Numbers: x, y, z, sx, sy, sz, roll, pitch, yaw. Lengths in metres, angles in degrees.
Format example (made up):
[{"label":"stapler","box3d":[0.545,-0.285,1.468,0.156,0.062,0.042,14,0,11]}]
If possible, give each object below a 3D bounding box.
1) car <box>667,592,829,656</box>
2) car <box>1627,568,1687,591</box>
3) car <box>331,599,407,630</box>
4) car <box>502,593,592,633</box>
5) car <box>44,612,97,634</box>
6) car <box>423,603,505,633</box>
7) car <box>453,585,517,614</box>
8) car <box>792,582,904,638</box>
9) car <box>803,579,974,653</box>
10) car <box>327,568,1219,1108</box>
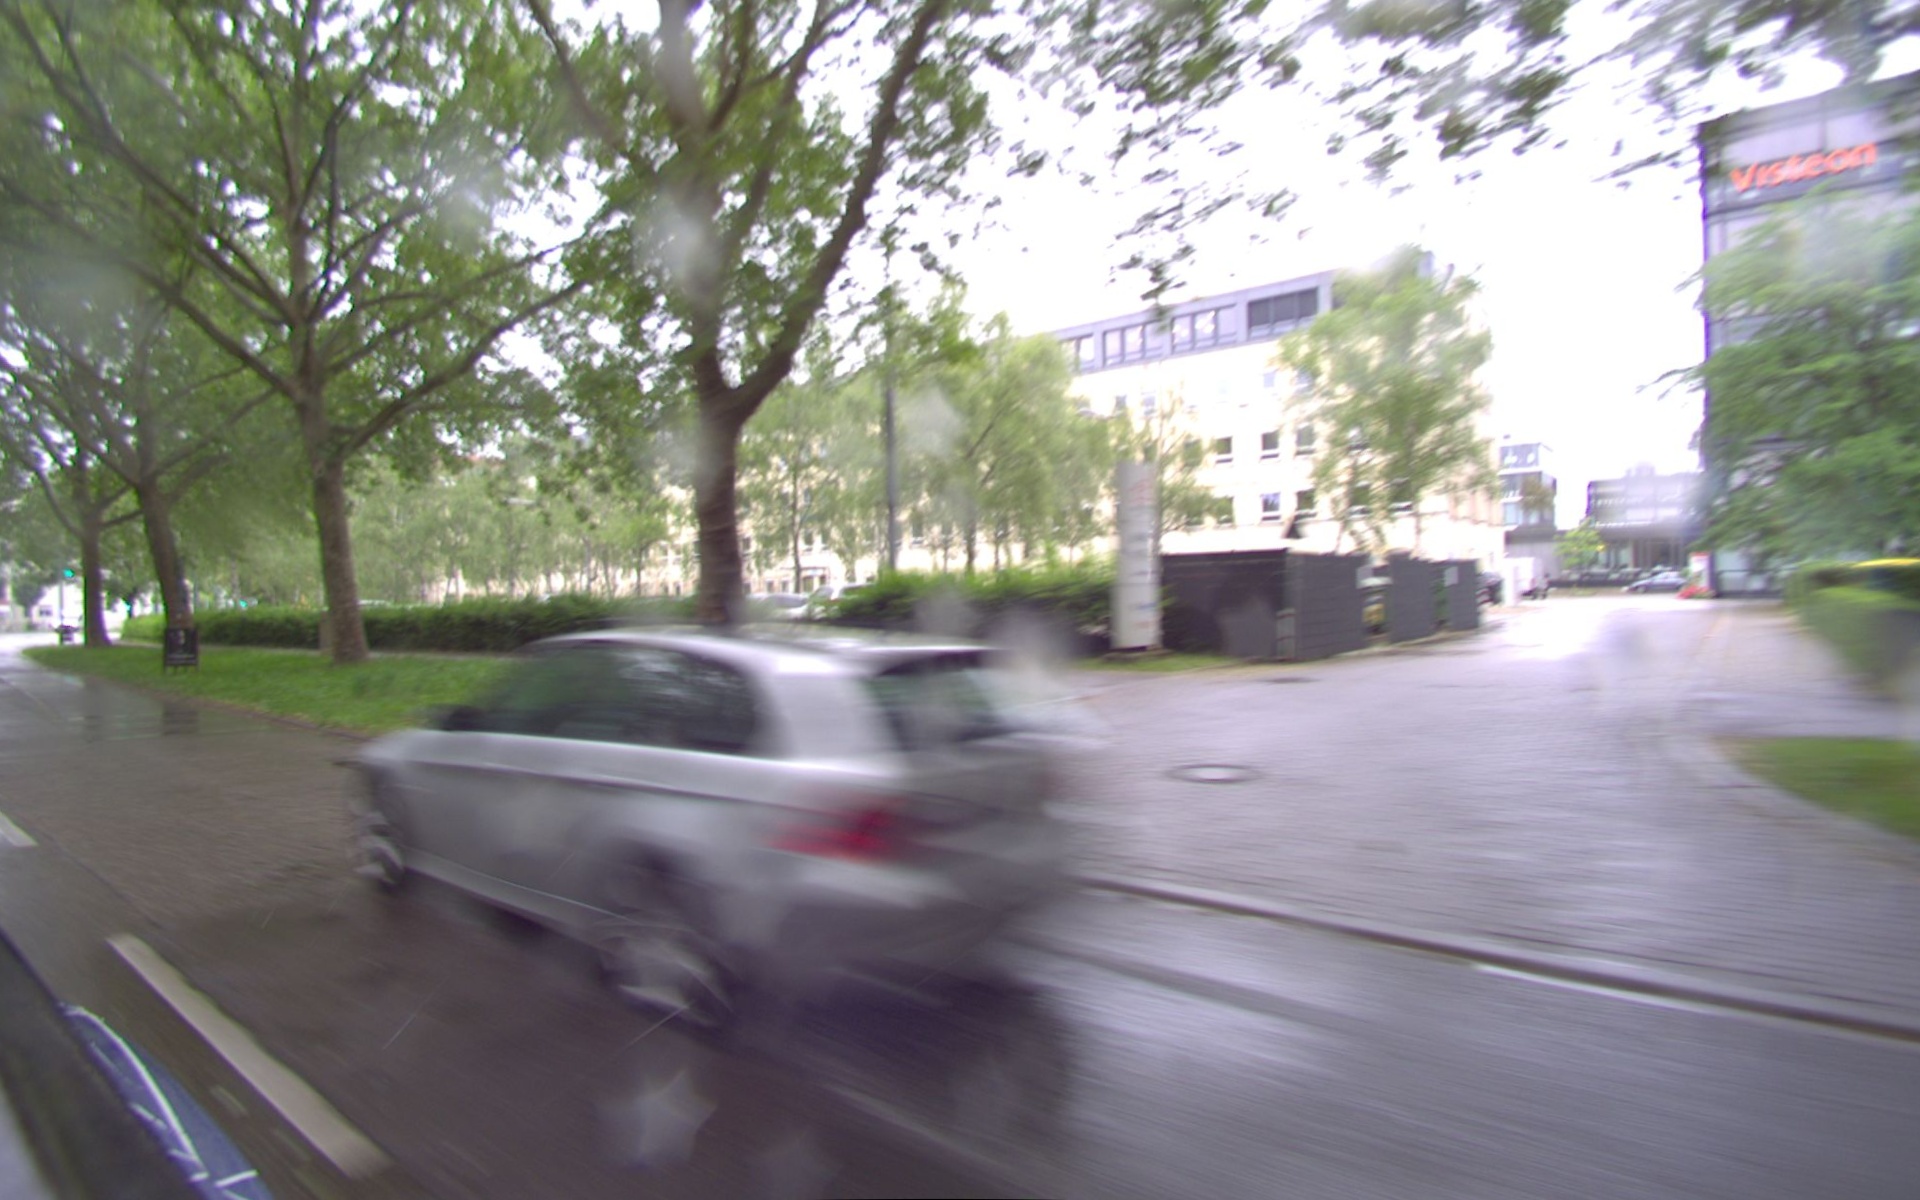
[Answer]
[{"label":"car","box3d":[-5.666,0.674,27.410,1.997,1.606,3.949,-2,-3,37]},{"label":"car","box3d":[52.221,-1.526,75.842,3.588,1.488,1.824,-2,1,37]},{"label":"car","box3d":[-39.559,0.982,67.772,1.851,1.846,3.951,-2,1,37]},{"label":"car","box3d":[-21.948,0.657,53.835,1.999,2.029,3.945,-2,-1,41]},{"label":"car","box3d":[-100.698,2.584,114.636,2.160,2.272,4.894,-3,1,-9]},{"label":"car","box3d":[-29.220,1.059,59.698,1.885,1.562,3.945,-1,1,42]},{"label":"car","box3d":[-55.910,-0.076,119.255,2.835,3.217,6.137,-2,1,38]},{"label":"car","box3d":[-4.286,0.377,38.993,2.000,2.029,3.944,-2,-1,42]},{"label":"car","box3d":[-1.638,0.425,24.276,1.997,1.606,3.949,-2,-3,37]},{"label":"car","box3d":[-1.266,0.667,4.760,4.547,1.399,1.661,-2,-1,41]}]
